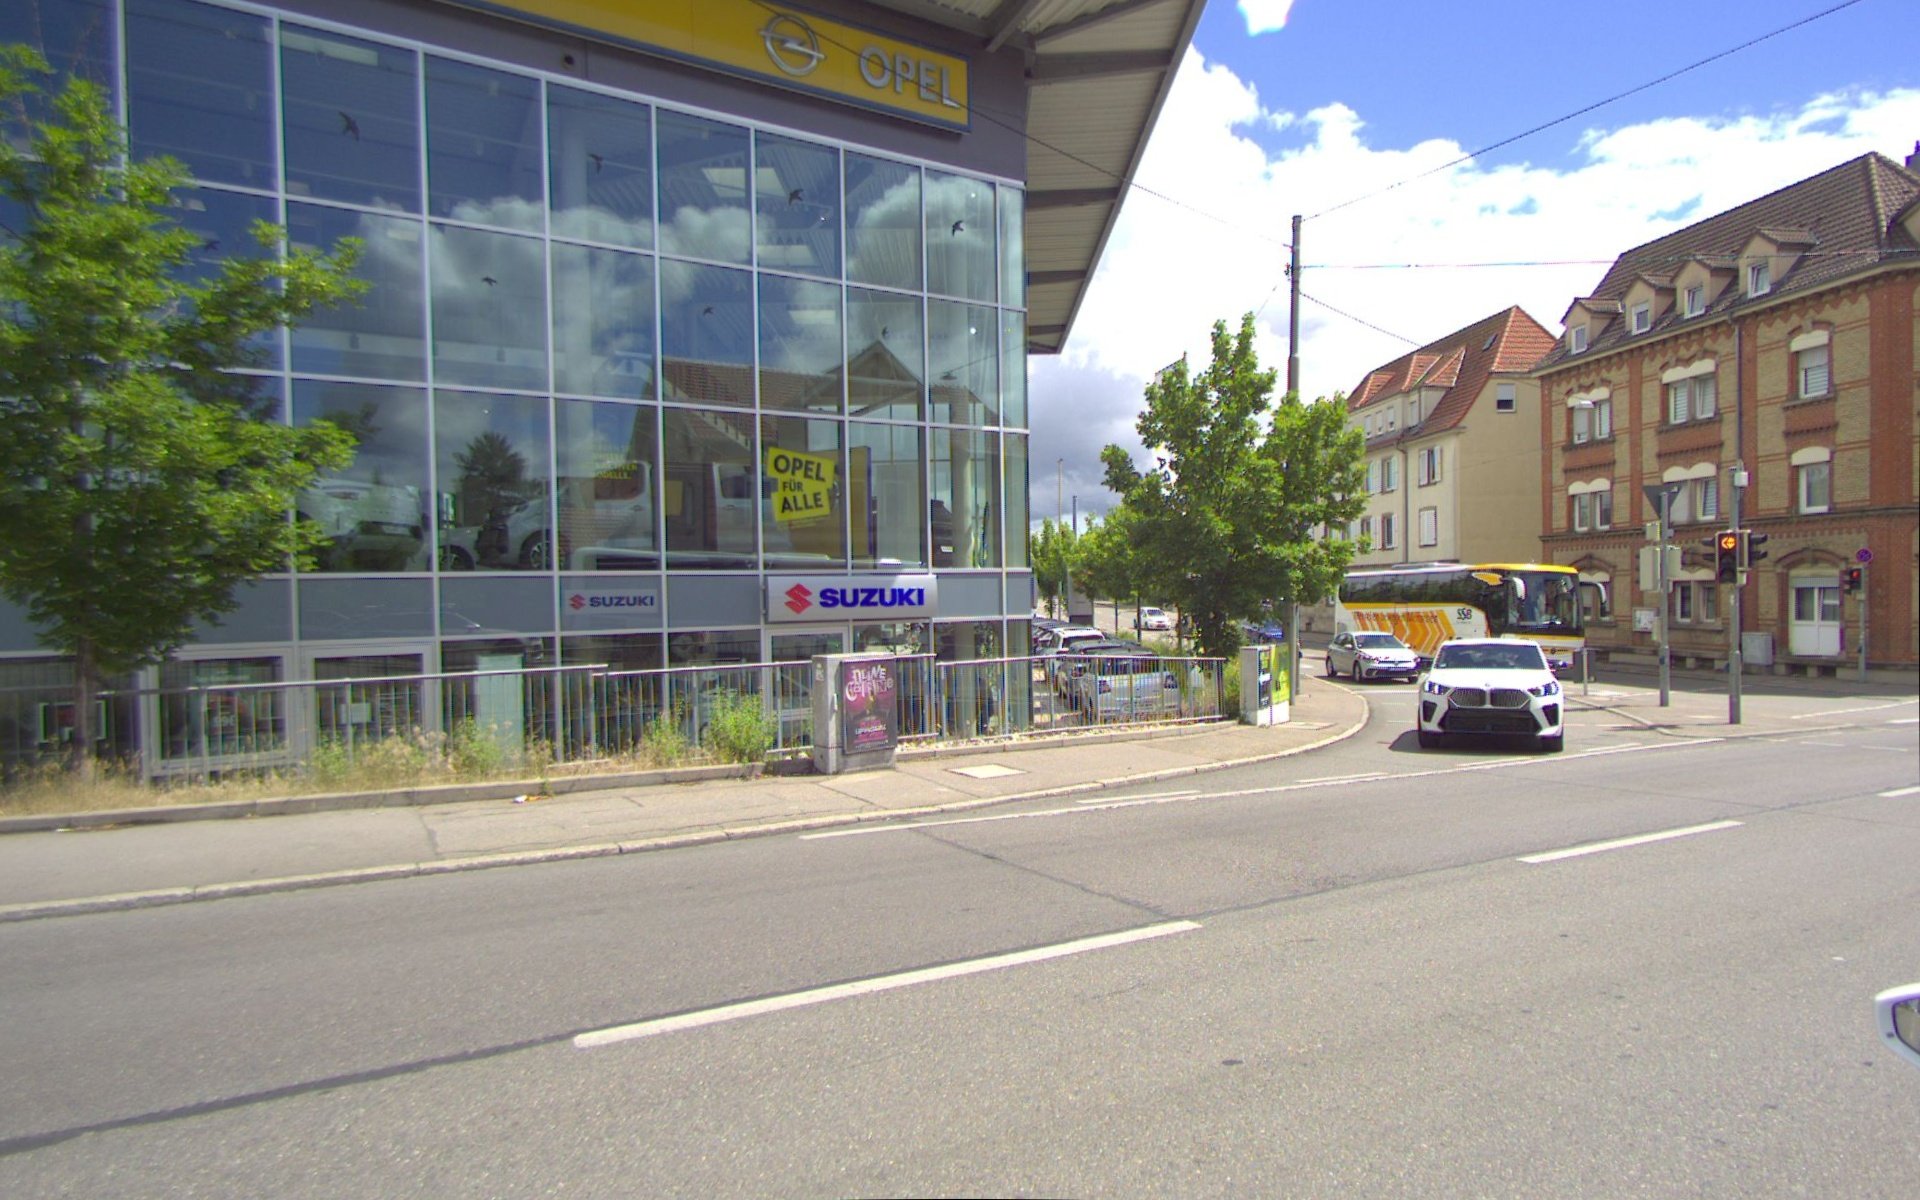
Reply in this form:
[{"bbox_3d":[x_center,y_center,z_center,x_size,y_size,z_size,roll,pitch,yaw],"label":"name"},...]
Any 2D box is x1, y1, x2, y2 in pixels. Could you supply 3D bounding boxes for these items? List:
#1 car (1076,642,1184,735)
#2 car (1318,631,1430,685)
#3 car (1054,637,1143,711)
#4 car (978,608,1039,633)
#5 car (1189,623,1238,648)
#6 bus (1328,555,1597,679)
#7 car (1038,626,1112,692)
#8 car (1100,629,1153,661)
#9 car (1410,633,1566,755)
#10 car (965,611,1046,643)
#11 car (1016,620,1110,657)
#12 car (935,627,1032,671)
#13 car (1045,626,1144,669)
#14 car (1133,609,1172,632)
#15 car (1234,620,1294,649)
[{"bbox_3d":[3.352,1.719,20.344,1.648,1.582,3.365,-1,0,1],"label":"car"},{"bbox_3d":[12.204,1.682,29.841,1.847,1.437,3.621,1,-1,1],"label":"car"},{"bbox_3d":[3.319,1.752,24.662,1.584,1.547,3.499,-1,0,-2],"label":"car"},{"bbox_3d":[3.239,1.371,67.346,3.922,1.574,1.807,1,-1,-1],"label":"car"},{"bbox_3d":[15.570,2.170,61.966,1.874,1.428,3.999,1,-1,-2],"label":"car"},{"bbox_3d":[17.407,0.580,36.370,2.718,3.670,12.256,1,-1,-5],"label":"bus"},{"bbox_3d":[3.277,1.661,29.164,1.620,1.703,3.499,-1,0,-2],"label":"car"},{"bbox_3d":[8.042,2.155,48.766,1.766,1.467,3.498,1,-1,-5],"label":"car"},{"bbox_3d":[8.077,1.366,15.321,1.801,1.572,4.300,-2,-4,29],"label":"car"},{"bbox_3d":[2.367,1.409,52.790,3.930,1.574,1.804,1,-1,-12],"label":"car"},{"bbox_3d":[4.611,1.739,45.259,3.925,1.574,1.806,1,-1,-7],"label":"car"},{"bbox_3d":[0.835,1.773,36.906,3.432,1.467,1.799,-1,0,-3],"label":"car"},{"bbox_3d":[4.959,1.758,37.333,3.430,1.497,1.800,1,-1,1],"label":"car"},{"bbox_3d":[13.655,1.447,71.470,1.874,1.574,3.999,1,-1,-2],"label":"car"},{"bbox_3d":[15.631,1.746,51.892,1.717,1.428,3.999,1,-1,-3],"label":"car"}]
